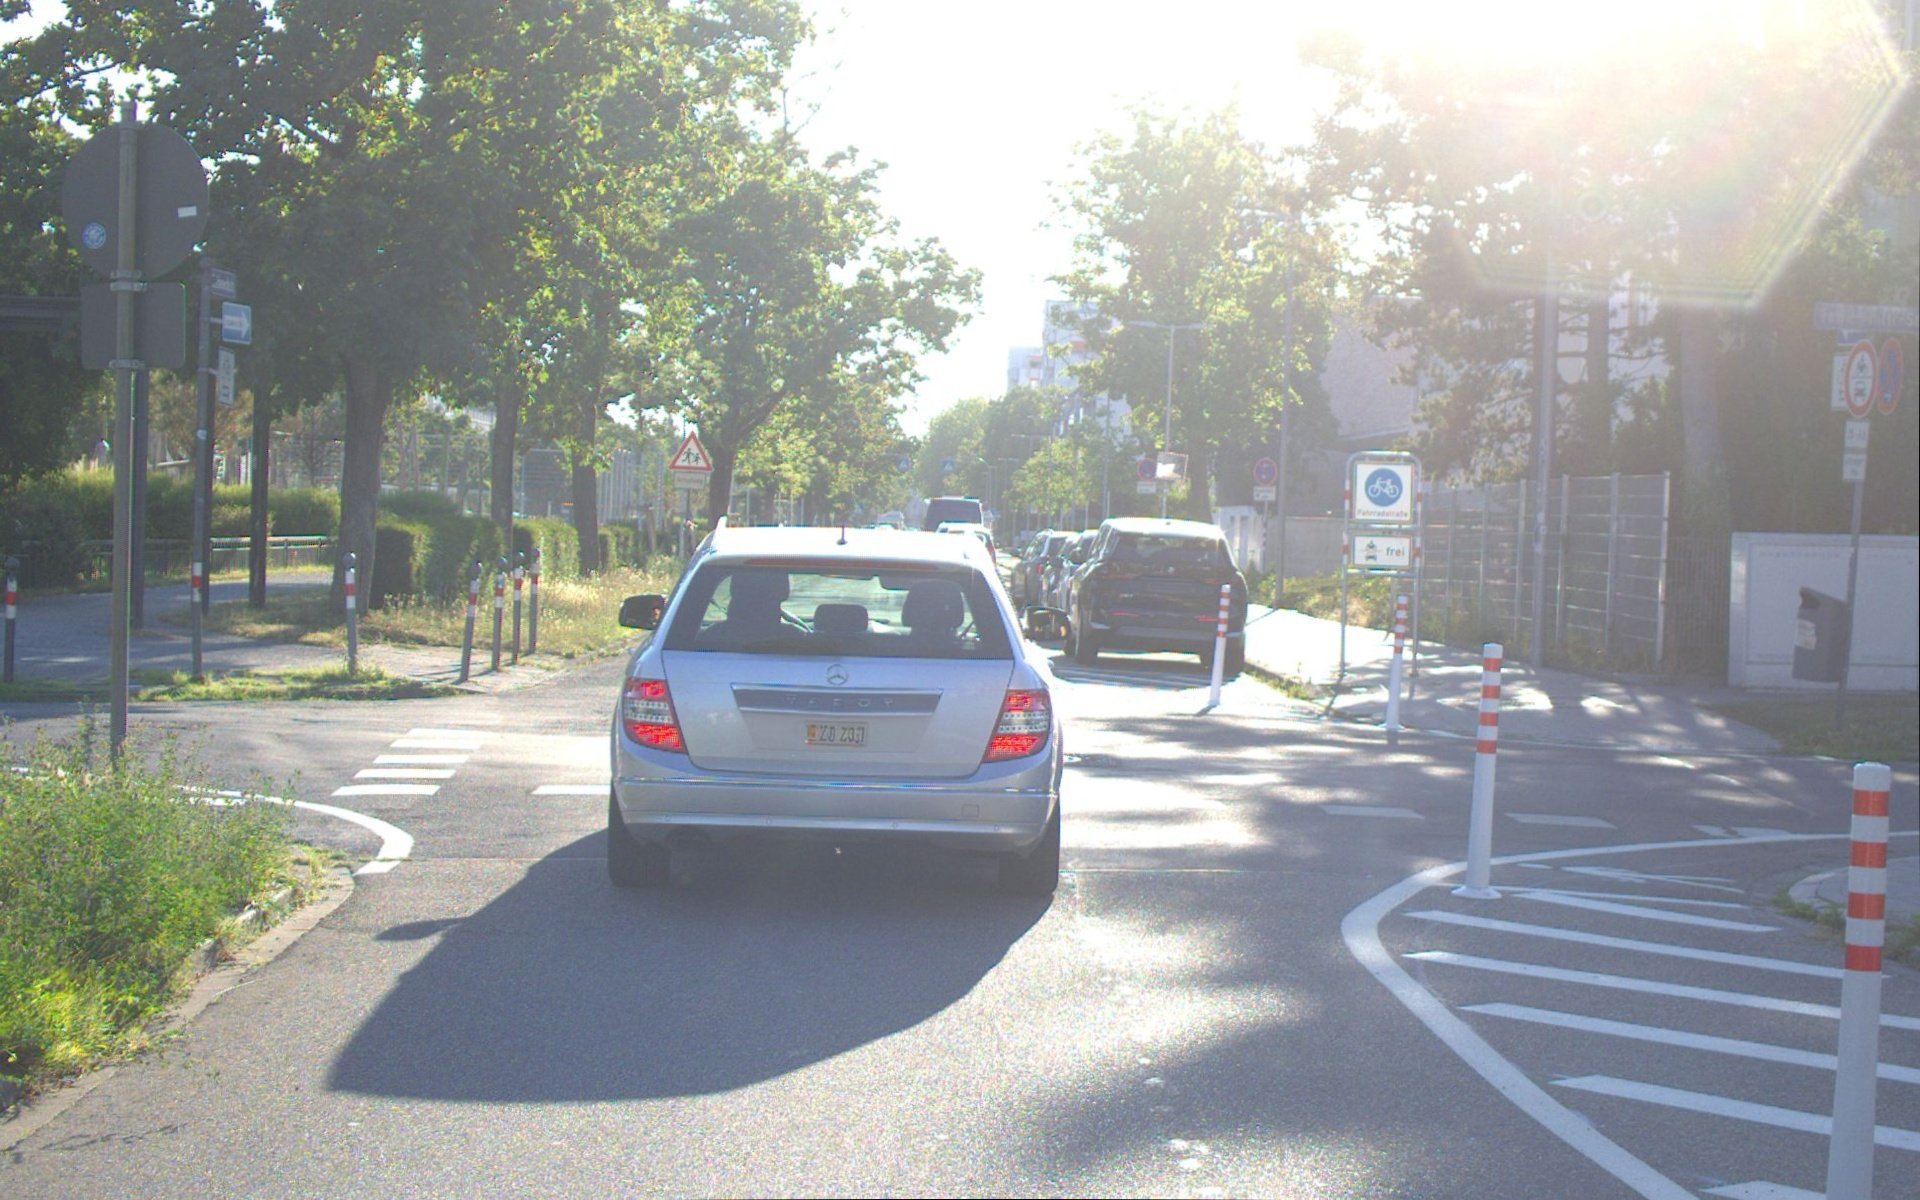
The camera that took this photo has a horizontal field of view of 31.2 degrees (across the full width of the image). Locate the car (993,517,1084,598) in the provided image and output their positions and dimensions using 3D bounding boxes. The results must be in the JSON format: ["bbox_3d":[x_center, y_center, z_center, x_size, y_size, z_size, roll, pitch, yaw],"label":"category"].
[{"bbox_3d":[1.628,-0.920,72.606,1.721,1.591,4.000,2,1,-1],"label":"car"}]

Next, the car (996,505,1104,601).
[{"bbox_3d":[1.574,-0.859,61.440,1.721,1.591,4.000,2,1,-1],"label":"car"}]

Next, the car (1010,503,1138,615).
[{"bbox_3d":[1.712,-0.648,52.783,1.721,1.591,4.000,2,1,-1],"label":"car"}]

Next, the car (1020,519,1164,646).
[{"bbox_3d":[1.766,-0.276,47.164,1.721,1.591,4.000,2,1,-1],"label":"car"}]

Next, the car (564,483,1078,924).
[{"bbox_3d":[-0.520,0.306,14.366,1.823,1.561,4.001,1,2,-1],"label":"car"}]

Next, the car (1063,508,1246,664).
[{"bbox_3d":[2.104,-0.168,38.166,1.721,1.591,4.000,2,1,-1],"label":"car"}]

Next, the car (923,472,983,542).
[{"bbox_3d":[-0.262,-3.086,114.489,1.861,2.185,5.070,2,1,-1],"label":"car"}]

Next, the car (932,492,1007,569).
[{"bbox_3d":[0.249,-1.953,96.350,1.988,2.016,4.000,2,1,-1],"label":"car"}]
